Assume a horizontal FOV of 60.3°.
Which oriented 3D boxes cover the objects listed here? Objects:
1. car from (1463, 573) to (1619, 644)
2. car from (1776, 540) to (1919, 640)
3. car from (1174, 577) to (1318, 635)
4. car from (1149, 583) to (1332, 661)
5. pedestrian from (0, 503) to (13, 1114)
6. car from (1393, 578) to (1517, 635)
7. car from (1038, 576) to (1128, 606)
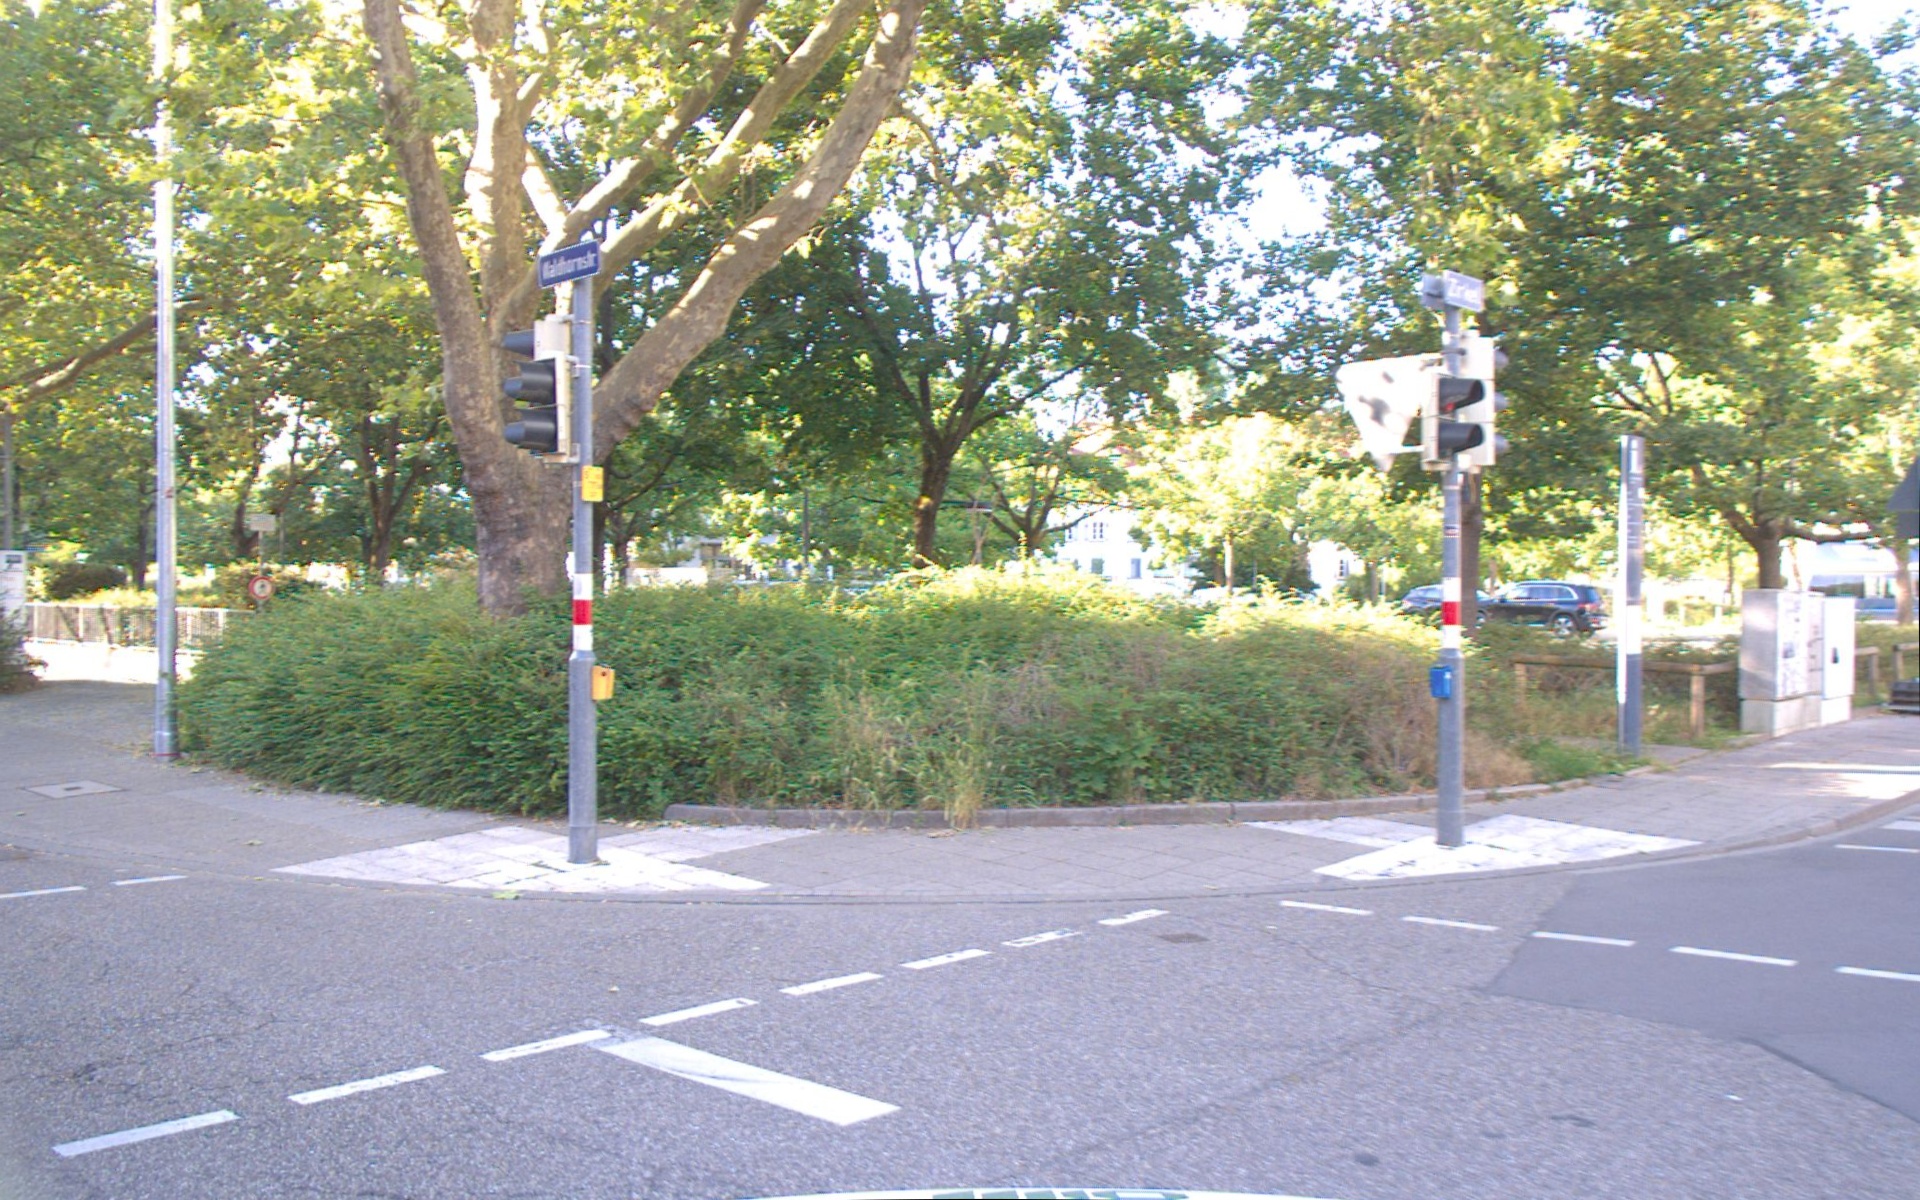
[{"bbox_3d":[17.951,0.224,51.215,4.236,2.125,1.777,1,1,43],"label":"car"},{"bbox_3d":[24.965,-0.278,44.511,5.068,2.617,1.988,1,1,42],"label":"car"},{"bbox_3d":[8.639,0.166,50.105,3.933,1.654,1.911,1,0,44],"label":"car"},{"bbox_3d":[6.928,0.501,41.070,4.236,1.843,1.777,1,1,43],"label":"car"},{"bbox_3d":[-3.371,0.612,4.937,0.874,1.803,0.738,0,0,-36],"label":"pedestrian"},{"bbox_3d":[18.346,0.229,61.336,3.975,1.981,1.912,1,0,43],"label":"car"},{"bbox_3d":[6.526,-0.495,88.089,4.579,1.501,2.000,1,0,44],"label":"car"}]
